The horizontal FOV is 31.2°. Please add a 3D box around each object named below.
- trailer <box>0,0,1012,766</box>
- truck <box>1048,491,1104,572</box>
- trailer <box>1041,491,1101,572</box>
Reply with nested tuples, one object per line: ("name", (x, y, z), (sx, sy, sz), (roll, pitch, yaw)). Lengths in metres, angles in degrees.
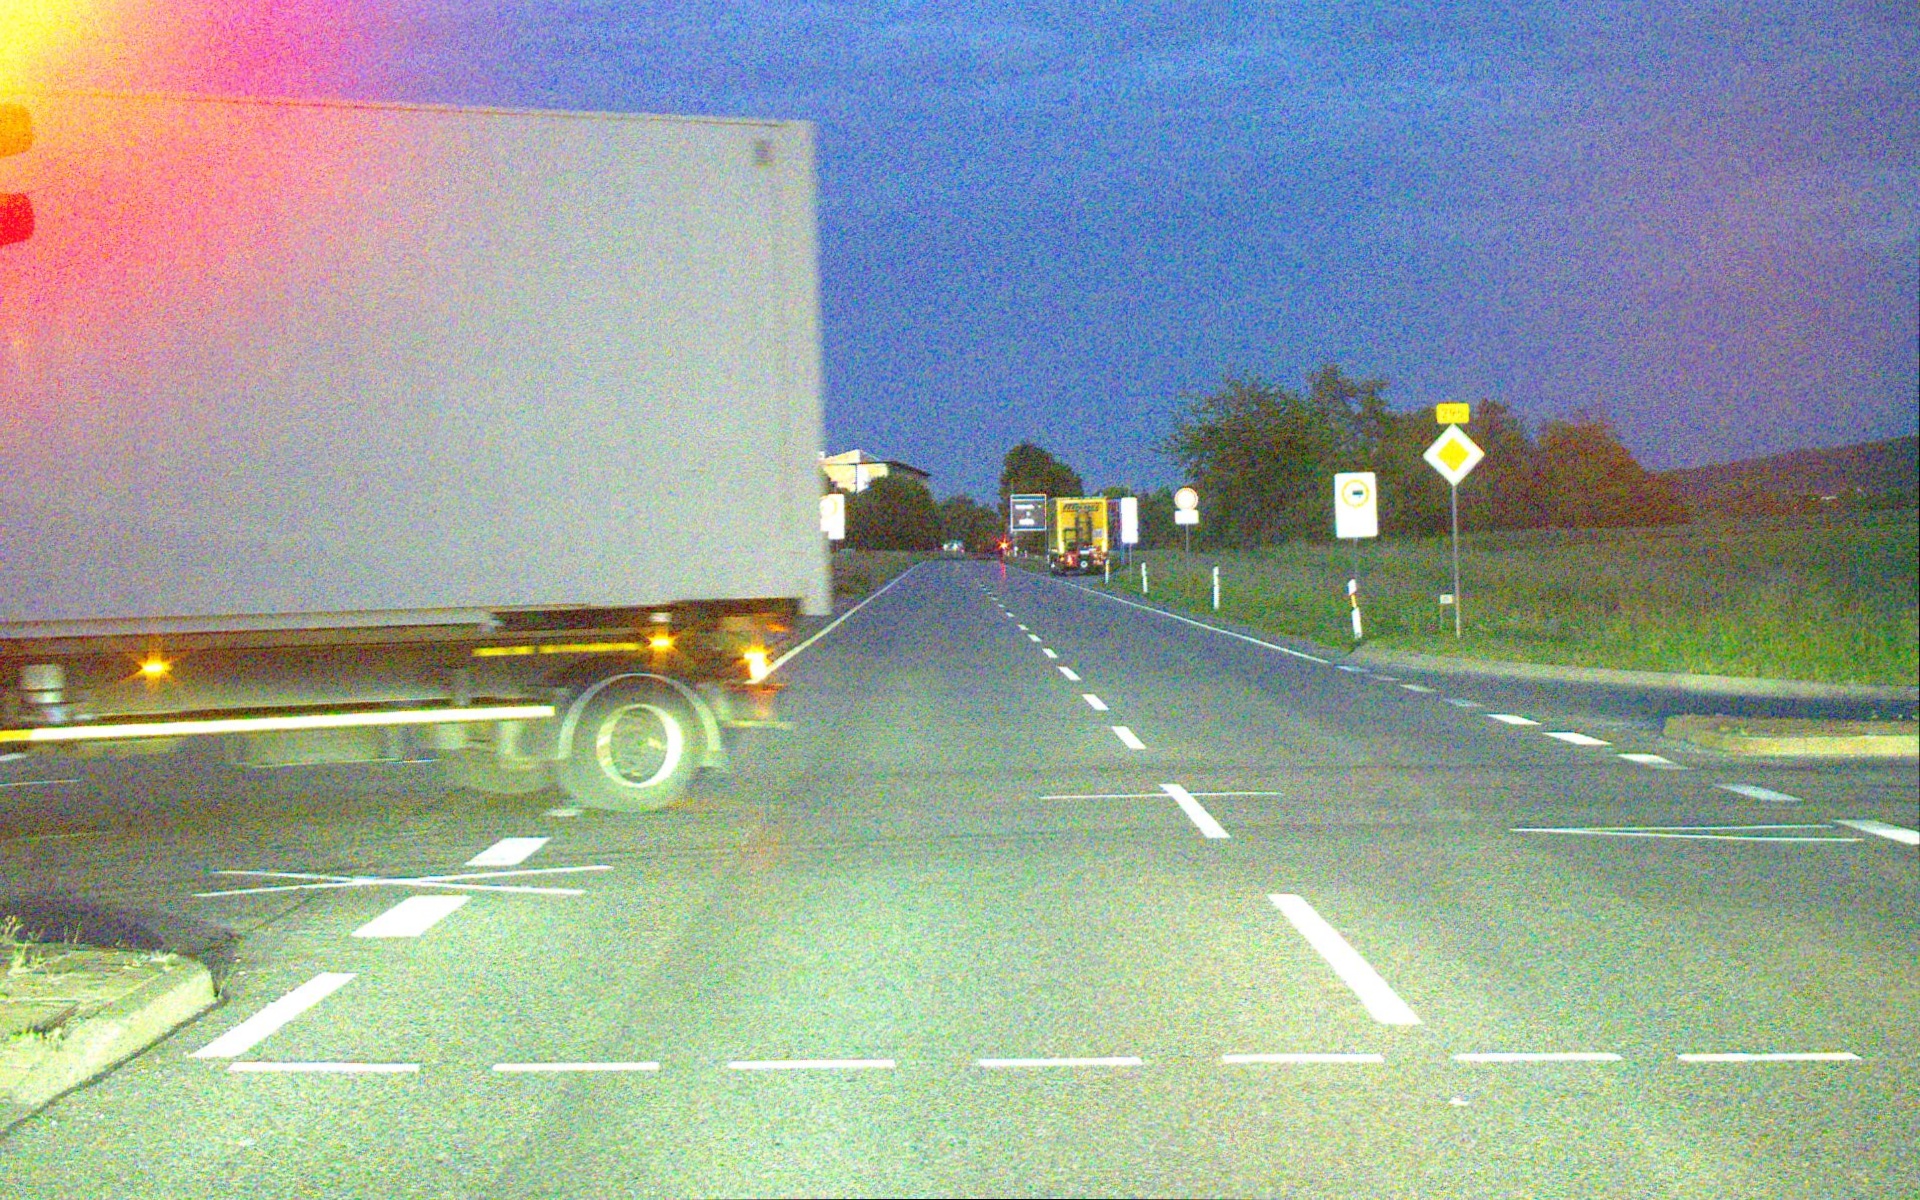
("trailer", (-4.262, -1.178, 19.298), (8.847, 3.929, 2.585), (-2, 1, -28))
("truck", (5.880, -3.512, 175.018), (2.579, 4.057, 6.130), (0, 1, 0))
("trailer", (5.776, -3.583, 181.220), (2.622, 4.090, 12.938), (-1, 1, 0))
